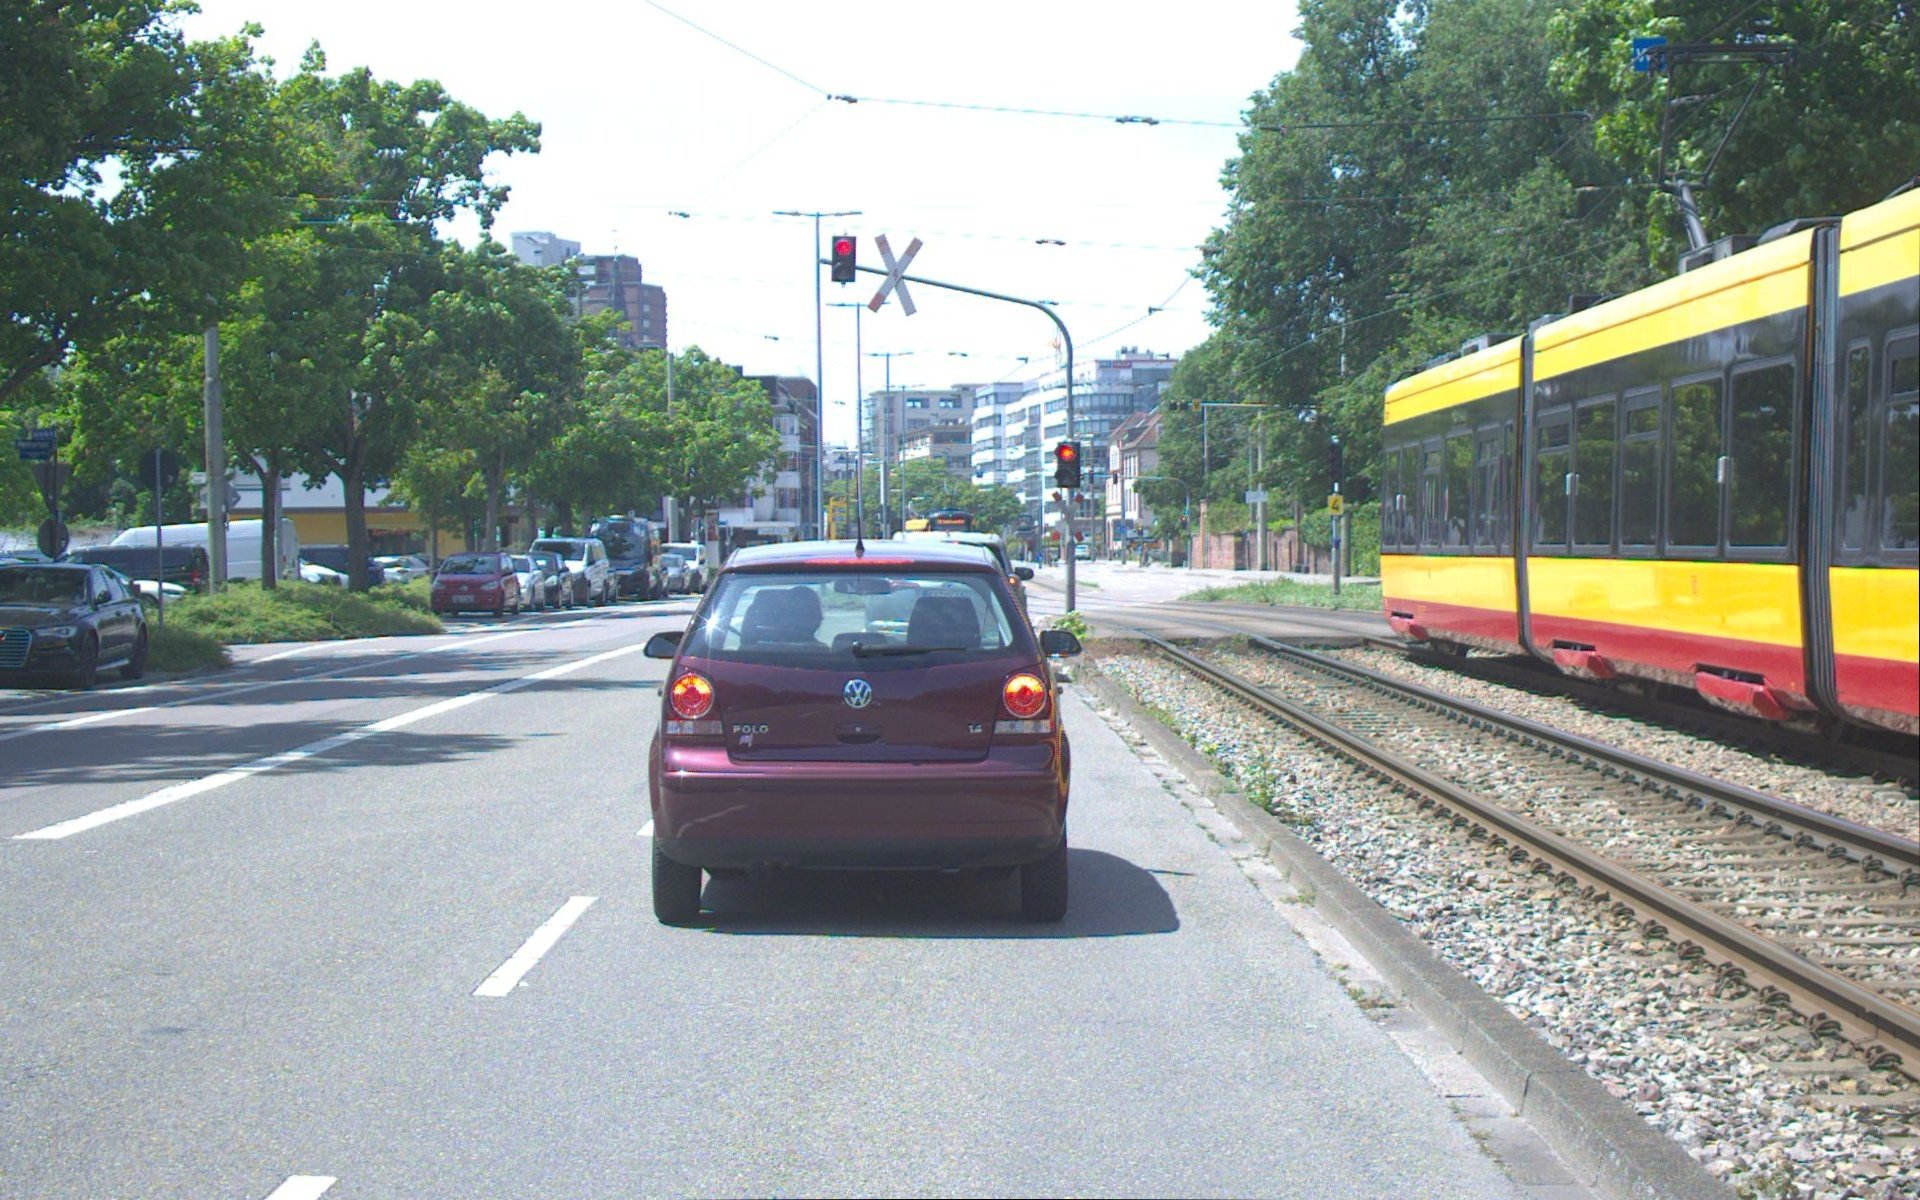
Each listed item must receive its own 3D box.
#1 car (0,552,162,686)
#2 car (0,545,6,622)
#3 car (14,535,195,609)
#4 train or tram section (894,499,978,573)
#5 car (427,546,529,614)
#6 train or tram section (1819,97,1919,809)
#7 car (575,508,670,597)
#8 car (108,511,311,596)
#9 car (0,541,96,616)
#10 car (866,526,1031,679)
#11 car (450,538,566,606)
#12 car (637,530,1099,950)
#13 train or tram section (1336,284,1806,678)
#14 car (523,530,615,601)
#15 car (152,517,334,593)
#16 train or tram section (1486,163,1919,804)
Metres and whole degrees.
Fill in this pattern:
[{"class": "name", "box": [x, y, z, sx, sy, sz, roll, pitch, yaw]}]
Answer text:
[{"class": "car", "box": [-11.070, 0.188, 41.602, 1.818, 1.471, 4.449, 1, 1, -1]}, {"class": "car", "box": [-21.760, -0.286, 69.637, 4.343, 1.579, 1.913, -1, 1, -2]}, {"class": "car", "box": [-21.237, -0.706, 85.475, 3.987, 1.740, 1.998, -1, 1, -1]}, {"class": "train or tram section", "box": [-1.300, -3.297, 175.900, 2.740, 3.597, 12.873, 1, 1, -7]}, {"class": "car", "box": [-11.095, -0.449, 79.350, 1.663, 1.491, 4.000, 1, 0, 1]}, {"class": "train or tram section", "box": [6.625, -0.706, 13.841, 3.028, 3.785, 13.090, -1, 1, 0]}, {"class": "car", "box": [-10.684, -1.476, 109.174, 2.361, 2.683, 5.307, 1, 0, 1]}, {"class": "car", "box": [-20.945, -1.289, 96.126, 5.097, 2.237, 2.378, 1, 0, 1]}, {"class": "car", "box": [-21.229, -0.447, 74.732, 4.344, 1.579, 1.912, -1, 1, 6]}, {"class": "car", "box": [-0.169, -0.015, 39.563, 1.777, 1.641, 4.000, 1, 1, -1]}, {"class": "car", "box": [-11.256, -0.683, 85.899, 1.976, 1.595, 4.557, 1, 0, 4]}, {"class": "car", "box": [-0.379, 0.478, 14.640, 1.672, 1.516, 4.000, 1, 1, -1]}, {"class": "train or tram section", "box": [6.618, -1.272, 39.682, 3.028, 3.785, 12.761, -1, 1, 0]}, {"class": "car", "box": [-10.904, -0.949, 96.135, 1.783, 1.875, 4.785, 1, 0, 2]}, {"class": "car", "box": [-22.312, -1.385, 107.103, 5.097, 2.237, 2.378, 1, 0, 1]}, {"class": "train or tram section", "box": [6.647, -0.822, 26.868, 3.028, 3.785, 13.090, -1, 1, 0]}]
